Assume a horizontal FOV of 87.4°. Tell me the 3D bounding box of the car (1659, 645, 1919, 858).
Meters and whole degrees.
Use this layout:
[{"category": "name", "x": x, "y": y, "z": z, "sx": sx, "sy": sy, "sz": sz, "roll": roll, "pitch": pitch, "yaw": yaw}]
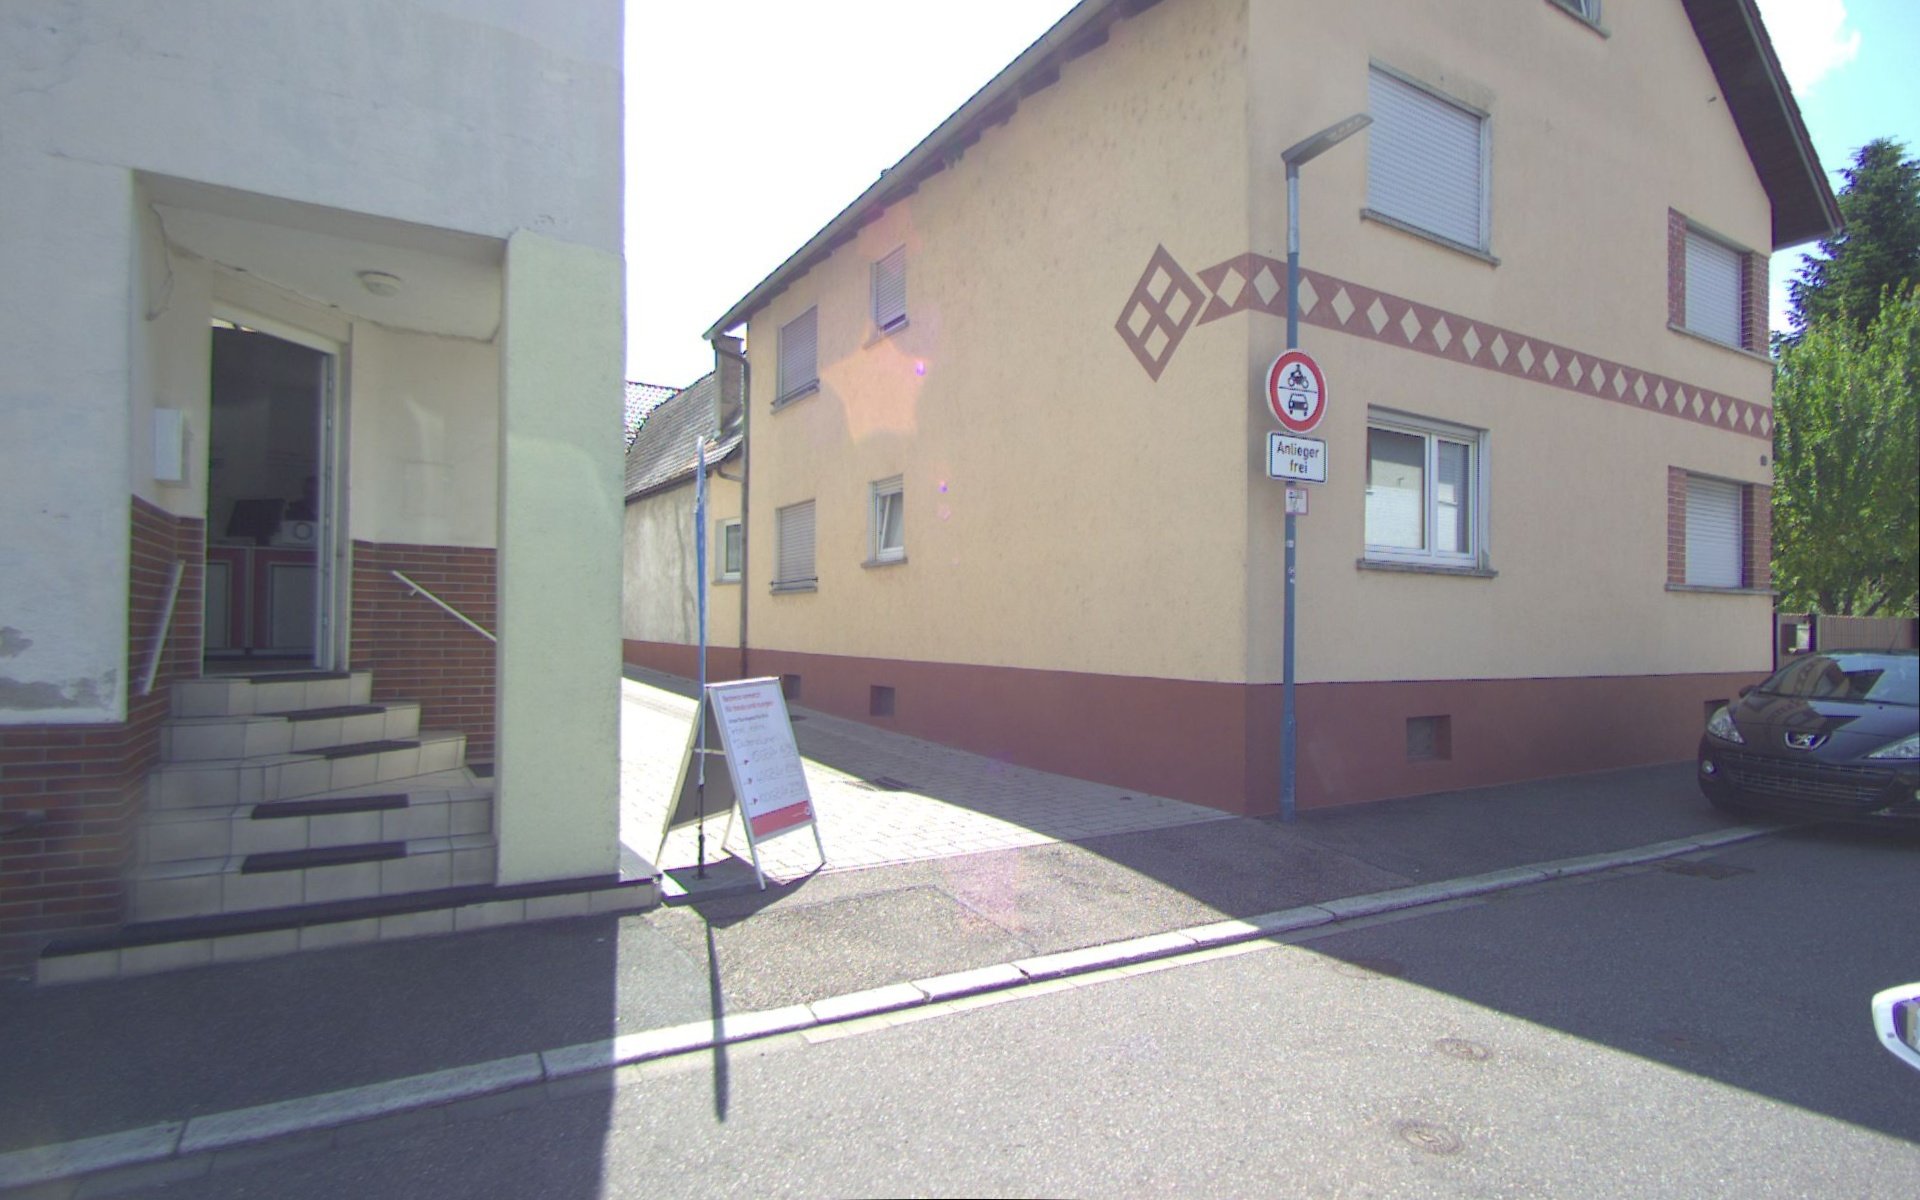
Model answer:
[{"category": "car", "x": 7.944, "y": 1.114, "z": 8.557, "sx": 4.019, "sy": 1.392, "sz": 1.753, "roll": 2, "pitch": -1, "yaw": -30}]
